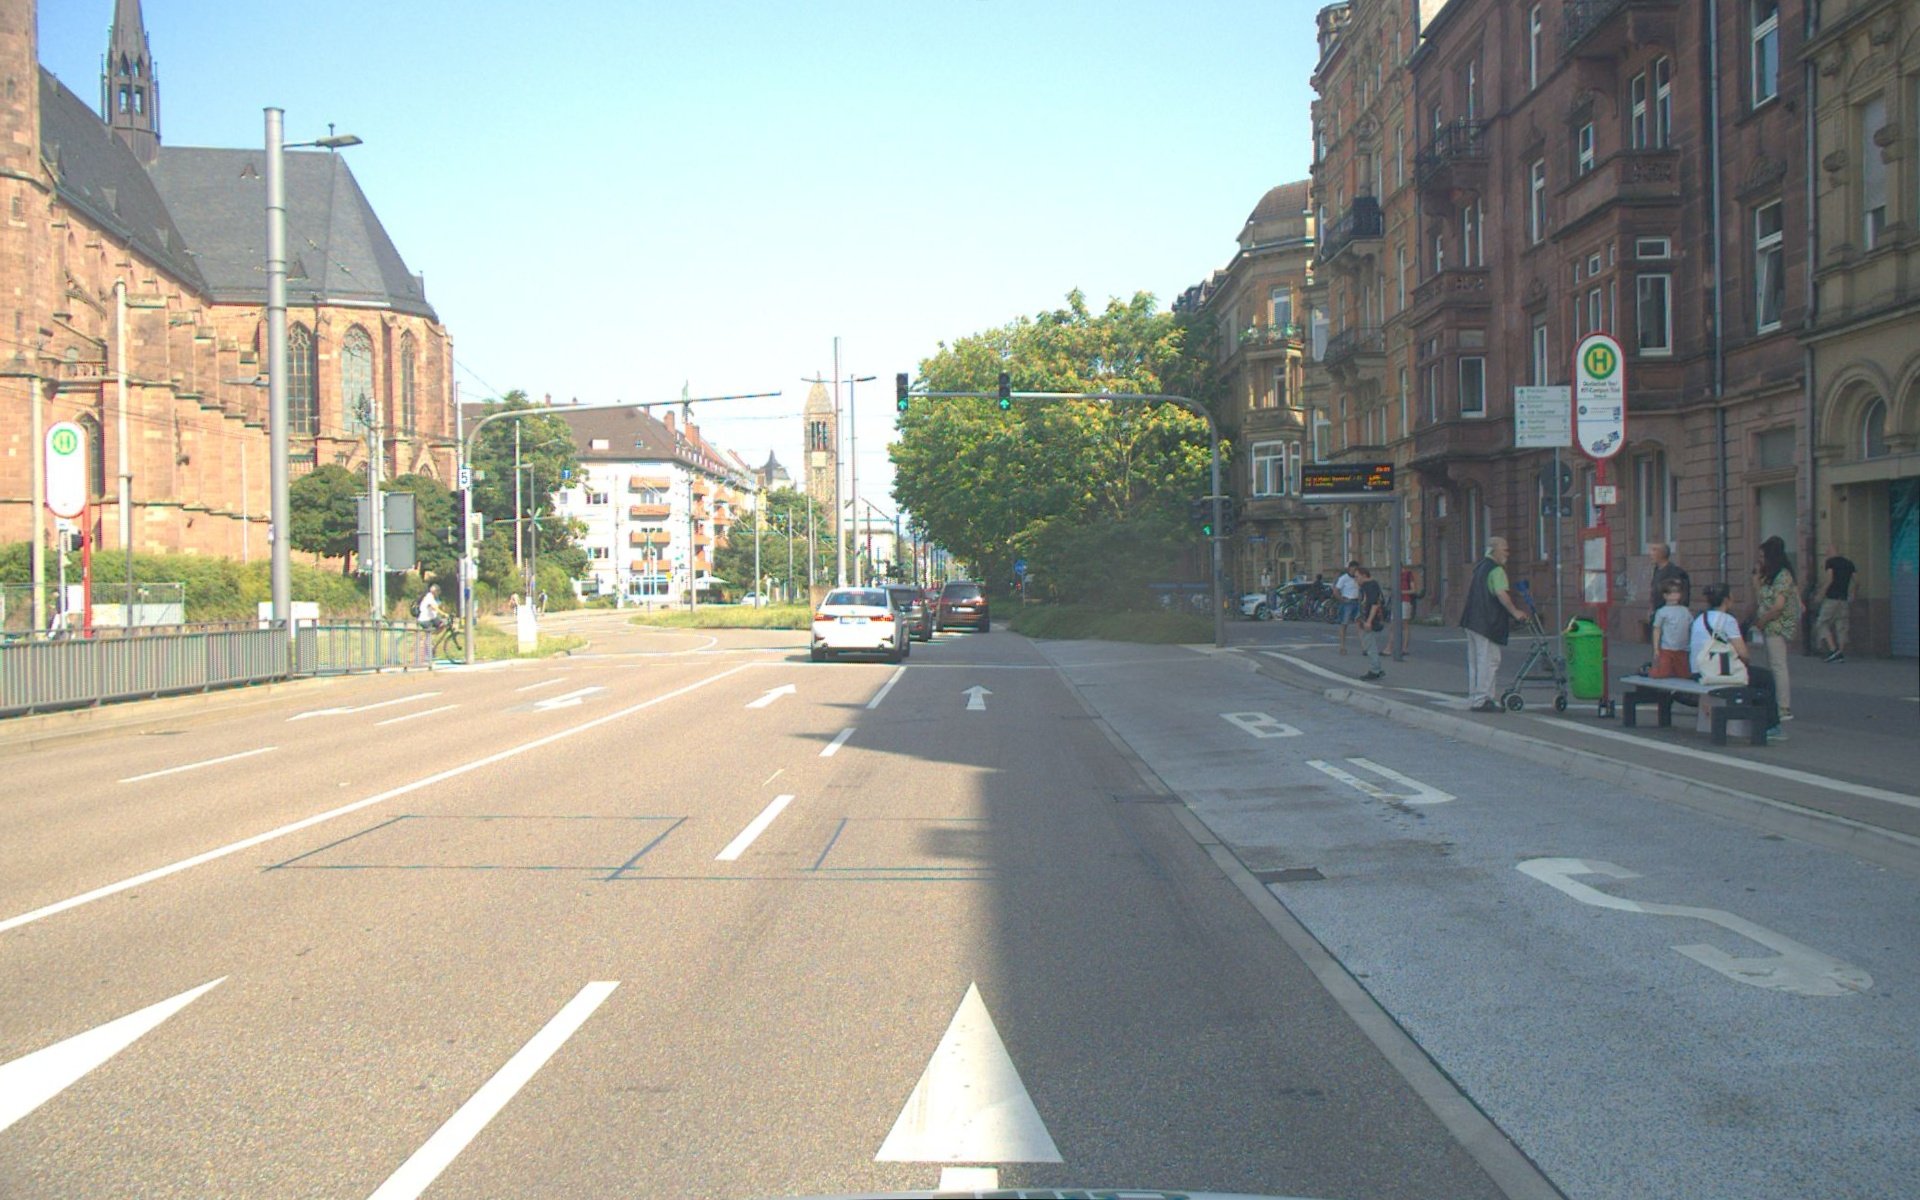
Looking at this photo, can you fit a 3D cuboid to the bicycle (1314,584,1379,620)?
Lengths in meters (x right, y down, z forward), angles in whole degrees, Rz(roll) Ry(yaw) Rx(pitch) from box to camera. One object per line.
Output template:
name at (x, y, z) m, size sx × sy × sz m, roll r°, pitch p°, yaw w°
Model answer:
bicycle at (12.029, 0.066, 51.484) m, size 1.890 × 1.066 × 0.499 m, roll -1°, pitch 0°, yaw -5°

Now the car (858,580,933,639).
car at (-1.843, 0.255, 48.648) m, size 1.952 × 1.649 × 4.358 m, roll 0°, pitch 0°, yaw 1°

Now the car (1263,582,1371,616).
car at (14.002, -0.045, 64.946) m, size 3.858 × 1.243 × 1.546 m, roll -1°, pitch 0°, yaw -4°

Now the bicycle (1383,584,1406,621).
bicycle at (12.864, 0.079, 49.002) m, size 0.407 × 1.066 × 1.671 m, roll -1°, pitch 0°, yaw 6°

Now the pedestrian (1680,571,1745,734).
pedestrian at (6.124, 0.420, 13.474) m, size 0.270 × 1.296 × 0.447 m, roll -1°, pitch 0°, yaw -6°

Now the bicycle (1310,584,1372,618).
bicycle at (12.385, 0.031, 53.761) m, size 1.890 × 1.066 × 0.499 m, roll -1°, pitch 0°, yaw -5°

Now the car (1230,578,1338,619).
car at (13.721, -0.070, 70.117) m, size 4.097 × 1.590 × 1.999 m, roll -1°, pitch 0°, yaw -4°

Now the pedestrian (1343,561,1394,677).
pedestrian at (5.902, 0.265, 23.905) m, size 0.517 × 1.640 × 0.703 m, roll -1°, pitch 0°, yaw -2°

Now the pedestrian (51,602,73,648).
pedestrian at (-31.506, 0.874, 58.053) m, size 0.532 × 1.603 × 0.659 m, roll -1°, pitch 0°, yaw -19°

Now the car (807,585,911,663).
car at (-2.003, 0.435, 34.052) m, size 1.772 × 1.452 × 4.775 m, roll 1°, pitch 1°, yaw 1°

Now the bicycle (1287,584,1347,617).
bicycle at (12.057, 0.010, 55.807) m, size 1.890 × 1.066 × 0.527 m, roll -1°, pitch 0°, yaw -5°

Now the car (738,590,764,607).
car at (-19.656, -0.106, 155.363) m, size 1.953 × 1.526 × 3.999 m, roll -1°, pitch 0°, yaw -1°

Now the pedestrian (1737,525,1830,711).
pedestrian at (7.958, 0.169, 16.001) m, size 0.553 × 1.759 × 0.617 m, roll -1°, pitch 0°, yaw -3°

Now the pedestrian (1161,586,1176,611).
pedestrian at (9.053, -0.063, 71.730) m, size 0.439 × 1.089 × 0.482 m, roll -1°, pitch 0°, yaw -30°

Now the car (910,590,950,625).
car at (-1.431, 0.340, 80.022) m, size 1.794 × 1.649 × 4.358 m, roll 0°, pitch 0°, yaw 1°

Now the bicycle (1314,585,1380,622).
bicycle at (11.843, 0.098, 50.648) m, size 1.890 × 1.066 × 0.499 m, roll -1°, pitch 0°, yaw -5°

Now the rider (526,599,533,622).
rider at (-27.014, 0.678, 103.867) m, size 0.300 × 1.456 × 0.250 m, roll -1°, pitch 0°, yaw 25°

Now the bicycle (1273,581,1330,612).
bicycle at (12.148, -0.132, 58.871) m, size 1.890 × 1.066 × 0.527 m, roll -1°, pitch 0°, yaw -5°

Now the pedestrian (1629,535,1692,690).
pedestrian at (8.195, 0.143, 19.365) m, size 0.334 × 1.763 × 0.805 m, roll -1°, pitch 0°, yaw -2°

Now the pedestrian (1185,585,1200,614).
pedestrian at (10.457, -0.029, 74.360) m, size 0.585 × 1.270 × 0.506 m, roll -1°, pitch 0°, yaw 0°

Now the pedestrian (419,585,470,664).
pedestrian at (-11.389, 0.545, 36.547) m, size 0.898 × 1.709 × 0.602 m, roll -1°, pitch 0°, yaw -2°

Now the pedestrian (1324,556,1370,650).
pedestrian at (7.072, 0.051, 30.276) m, size 0.676 × 1.693 × 0.619 m, roll -1°, pitch 0°, yaw 1°

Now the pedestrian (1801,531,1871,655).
pedestrian at (12.618, -0.100, 23.830) m, size 0.616 × 1.749 × 0.691 m, roll -1°, pitch 0°, yaw 1°

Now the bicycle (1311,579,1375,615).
bicycle at (12.051, -0.094, 52.071) m, size 1.890 × 1.066 × 0.499 m, roll -1°, pitch 0°, yaw -5°

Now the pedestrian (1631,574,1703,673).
pedestrian at (6.105, 0.196, 14.296) m, size 0.297 × 0.834 × 0.603 m, roll -1°, pitch 0°, yaw -6°

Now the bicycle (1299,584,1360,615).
bicycle at (12.175, -0.028, 54.557) m, size 1.890 × 0.967 × 0.499 m, roll -1°, pitch 0°, yaw -5°

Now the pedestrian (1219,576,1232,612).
pedestrian at (11.624, -0.265, 72.324) m, size 0.435 × 1.532 × 0.486 m, roll -1°, pitch 0°, yaw -5°

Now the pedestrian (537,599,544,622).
pedestrian at (-28.008, 0.682, 110.429) m, size 0.298 × 1.544 × 0.340 m, roll -1°, pitch 0°, yaw -3°

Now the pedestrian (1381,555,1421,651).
pedestrian at (8.071, 0.050, 30.286) m, size 0.471 × 1.731 × 0.703 m, roll -1°, pitch 0°, yaw -2°

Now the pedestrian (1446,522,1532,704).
pedestrian at (5.252, 0.120, 16.451) m, size 0.553 × 1.759 × 0.745 m, roll -1°, pitch 0°, yaw -2°

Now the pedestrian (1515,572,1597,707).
pedestrian at (5.883, 0.379, 16.353) m, size 0.553 × 1.300 × 0.597 m, roll -1°, pitch 0°, yaw -3°

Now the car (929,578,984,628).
car at (-0.090, 0.085, 57.793) m, size 1.794 × 1.649 × 4.358 m, roll 0°, pitch 0°, yaw 1°

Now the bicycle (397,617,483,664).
bicycle at (-11.486, 0.891, 36.562) m, size 1.723 × 0.995 × 0.479 m, roll -1°, pitch 0°, yaw -1°

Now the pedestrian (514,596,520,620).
pedestrian at (-28.944, 0.511, 108.040) m, size 0.298 × 1.544 × 0.340 m, roll -1°, pitch 0°, yaw -3°

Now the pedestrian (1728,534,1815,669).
pedestrian at (10.847, 0.015, 22.132) m, size 0.686 × 1.754 × 0.897 m, roll -1°, pitch 0°, yaw 1°

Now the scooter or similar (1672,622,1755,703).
scooter or similar at (7.342, 0.600, 16.134) m, size 0.553 × 0.754 × 0.514 m, roll -1°, pitch 0°, yaw -3°
